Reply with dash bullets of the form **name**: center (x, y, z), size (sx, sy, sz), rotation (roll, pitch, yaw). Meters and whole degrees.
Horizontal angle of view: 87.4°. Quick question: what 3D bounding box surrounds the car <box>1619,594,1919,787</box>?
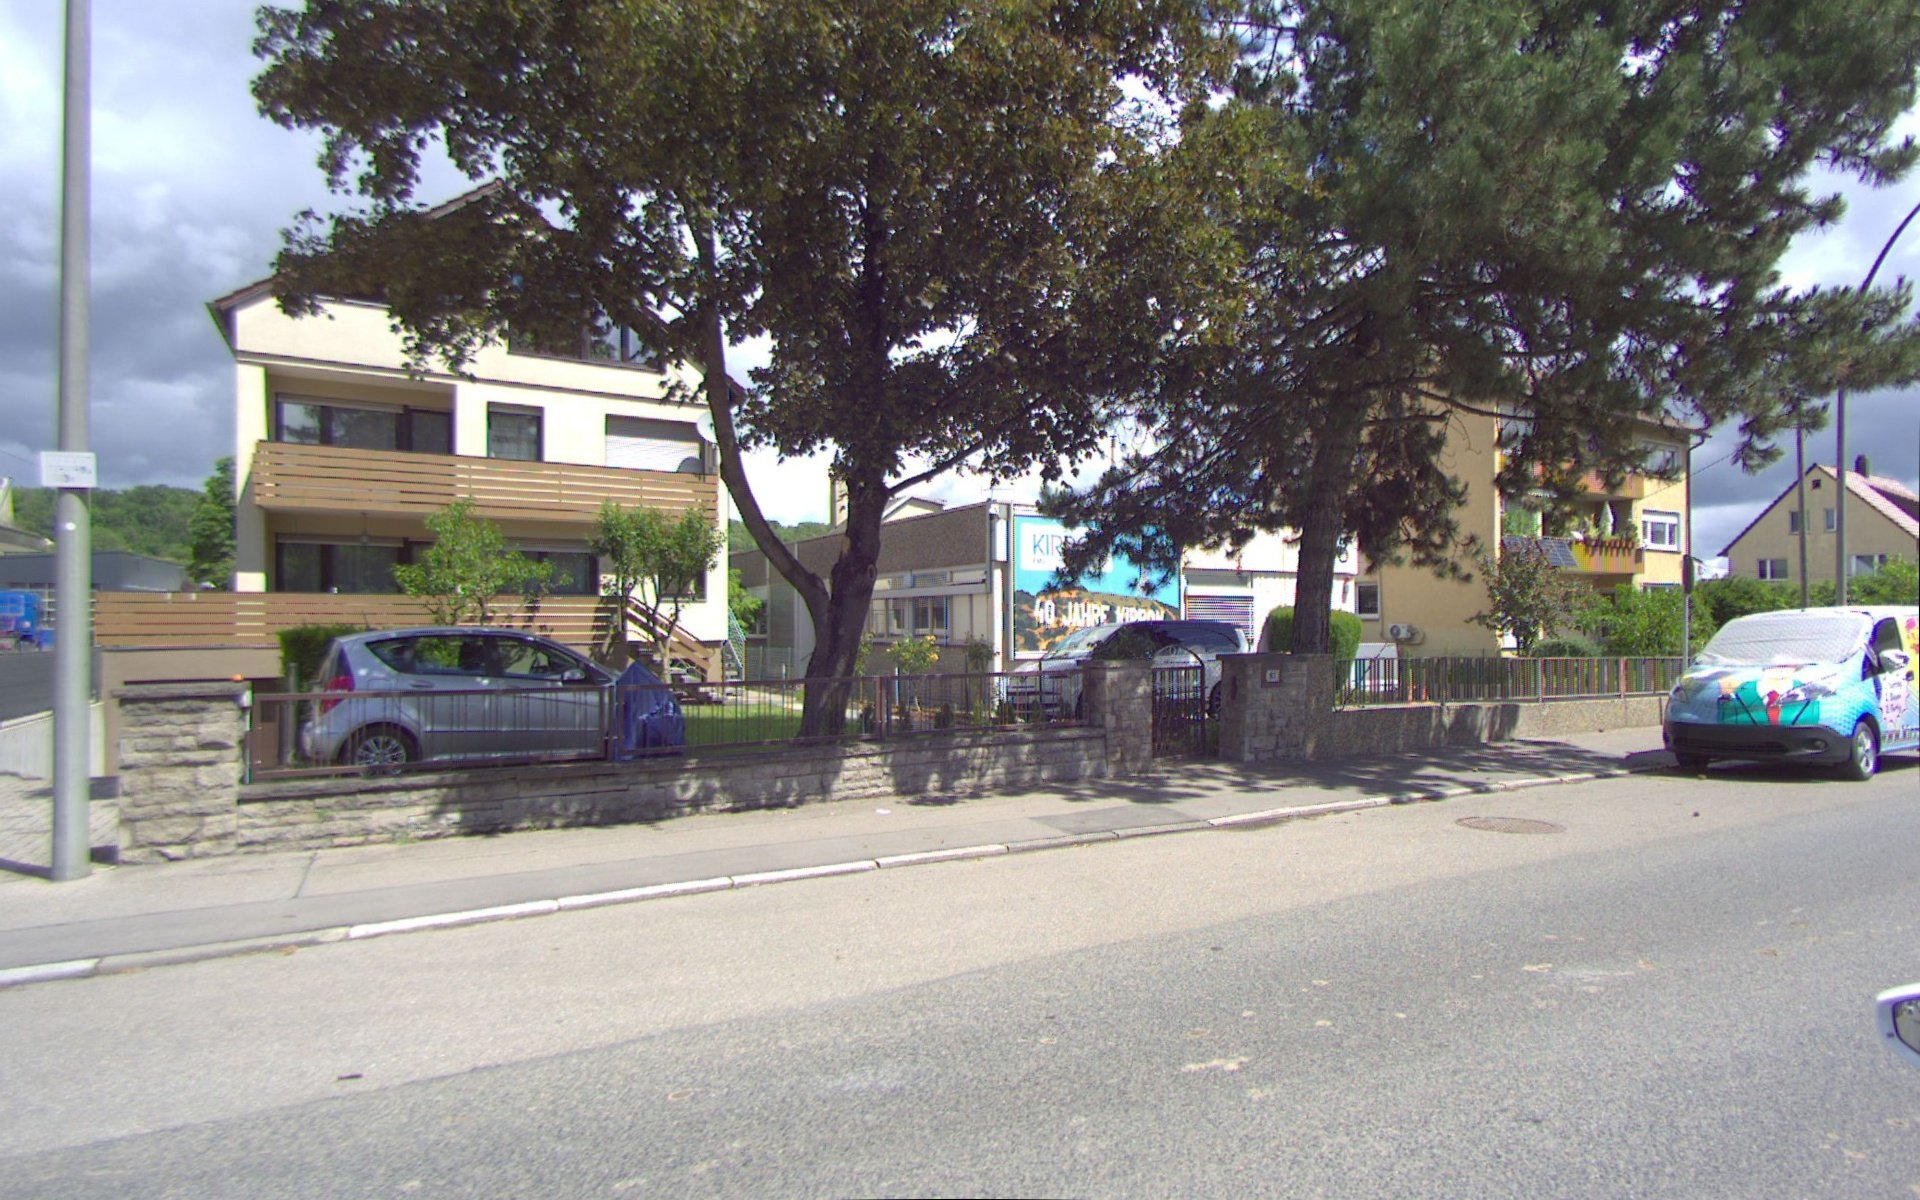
- **car**: center (10.075, 0.968, 11.820), size (4.837, 1.877, 1.825), rotation (0, -5, -30)

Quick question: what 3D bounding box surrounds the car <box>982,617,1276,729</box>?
- **car**: center (3.240, 1.305, 18.880), size (5.416, 1.854, 2.070), rotation (2, -3, -31)

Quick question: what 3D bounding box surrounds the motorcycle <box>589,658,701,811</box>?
- **motorcycle**: center (-2.795, 1.138, 9.104), size (0.810, 1.181, 1.872), rotation (1, -2, -13)

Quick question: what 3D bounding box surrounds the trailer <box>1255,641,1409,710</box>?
- **trailer**: center (12.101, 2.501, 32.936), size (2.432, 1.908, 3.971), rotation (1, -8, -31)

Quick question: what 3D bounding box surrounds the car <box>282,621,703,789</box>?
- **car**: center (-5.145, 1.053, 11.288), size (4.045, 1.563, 1.756), rotation (1, -2, -34)
